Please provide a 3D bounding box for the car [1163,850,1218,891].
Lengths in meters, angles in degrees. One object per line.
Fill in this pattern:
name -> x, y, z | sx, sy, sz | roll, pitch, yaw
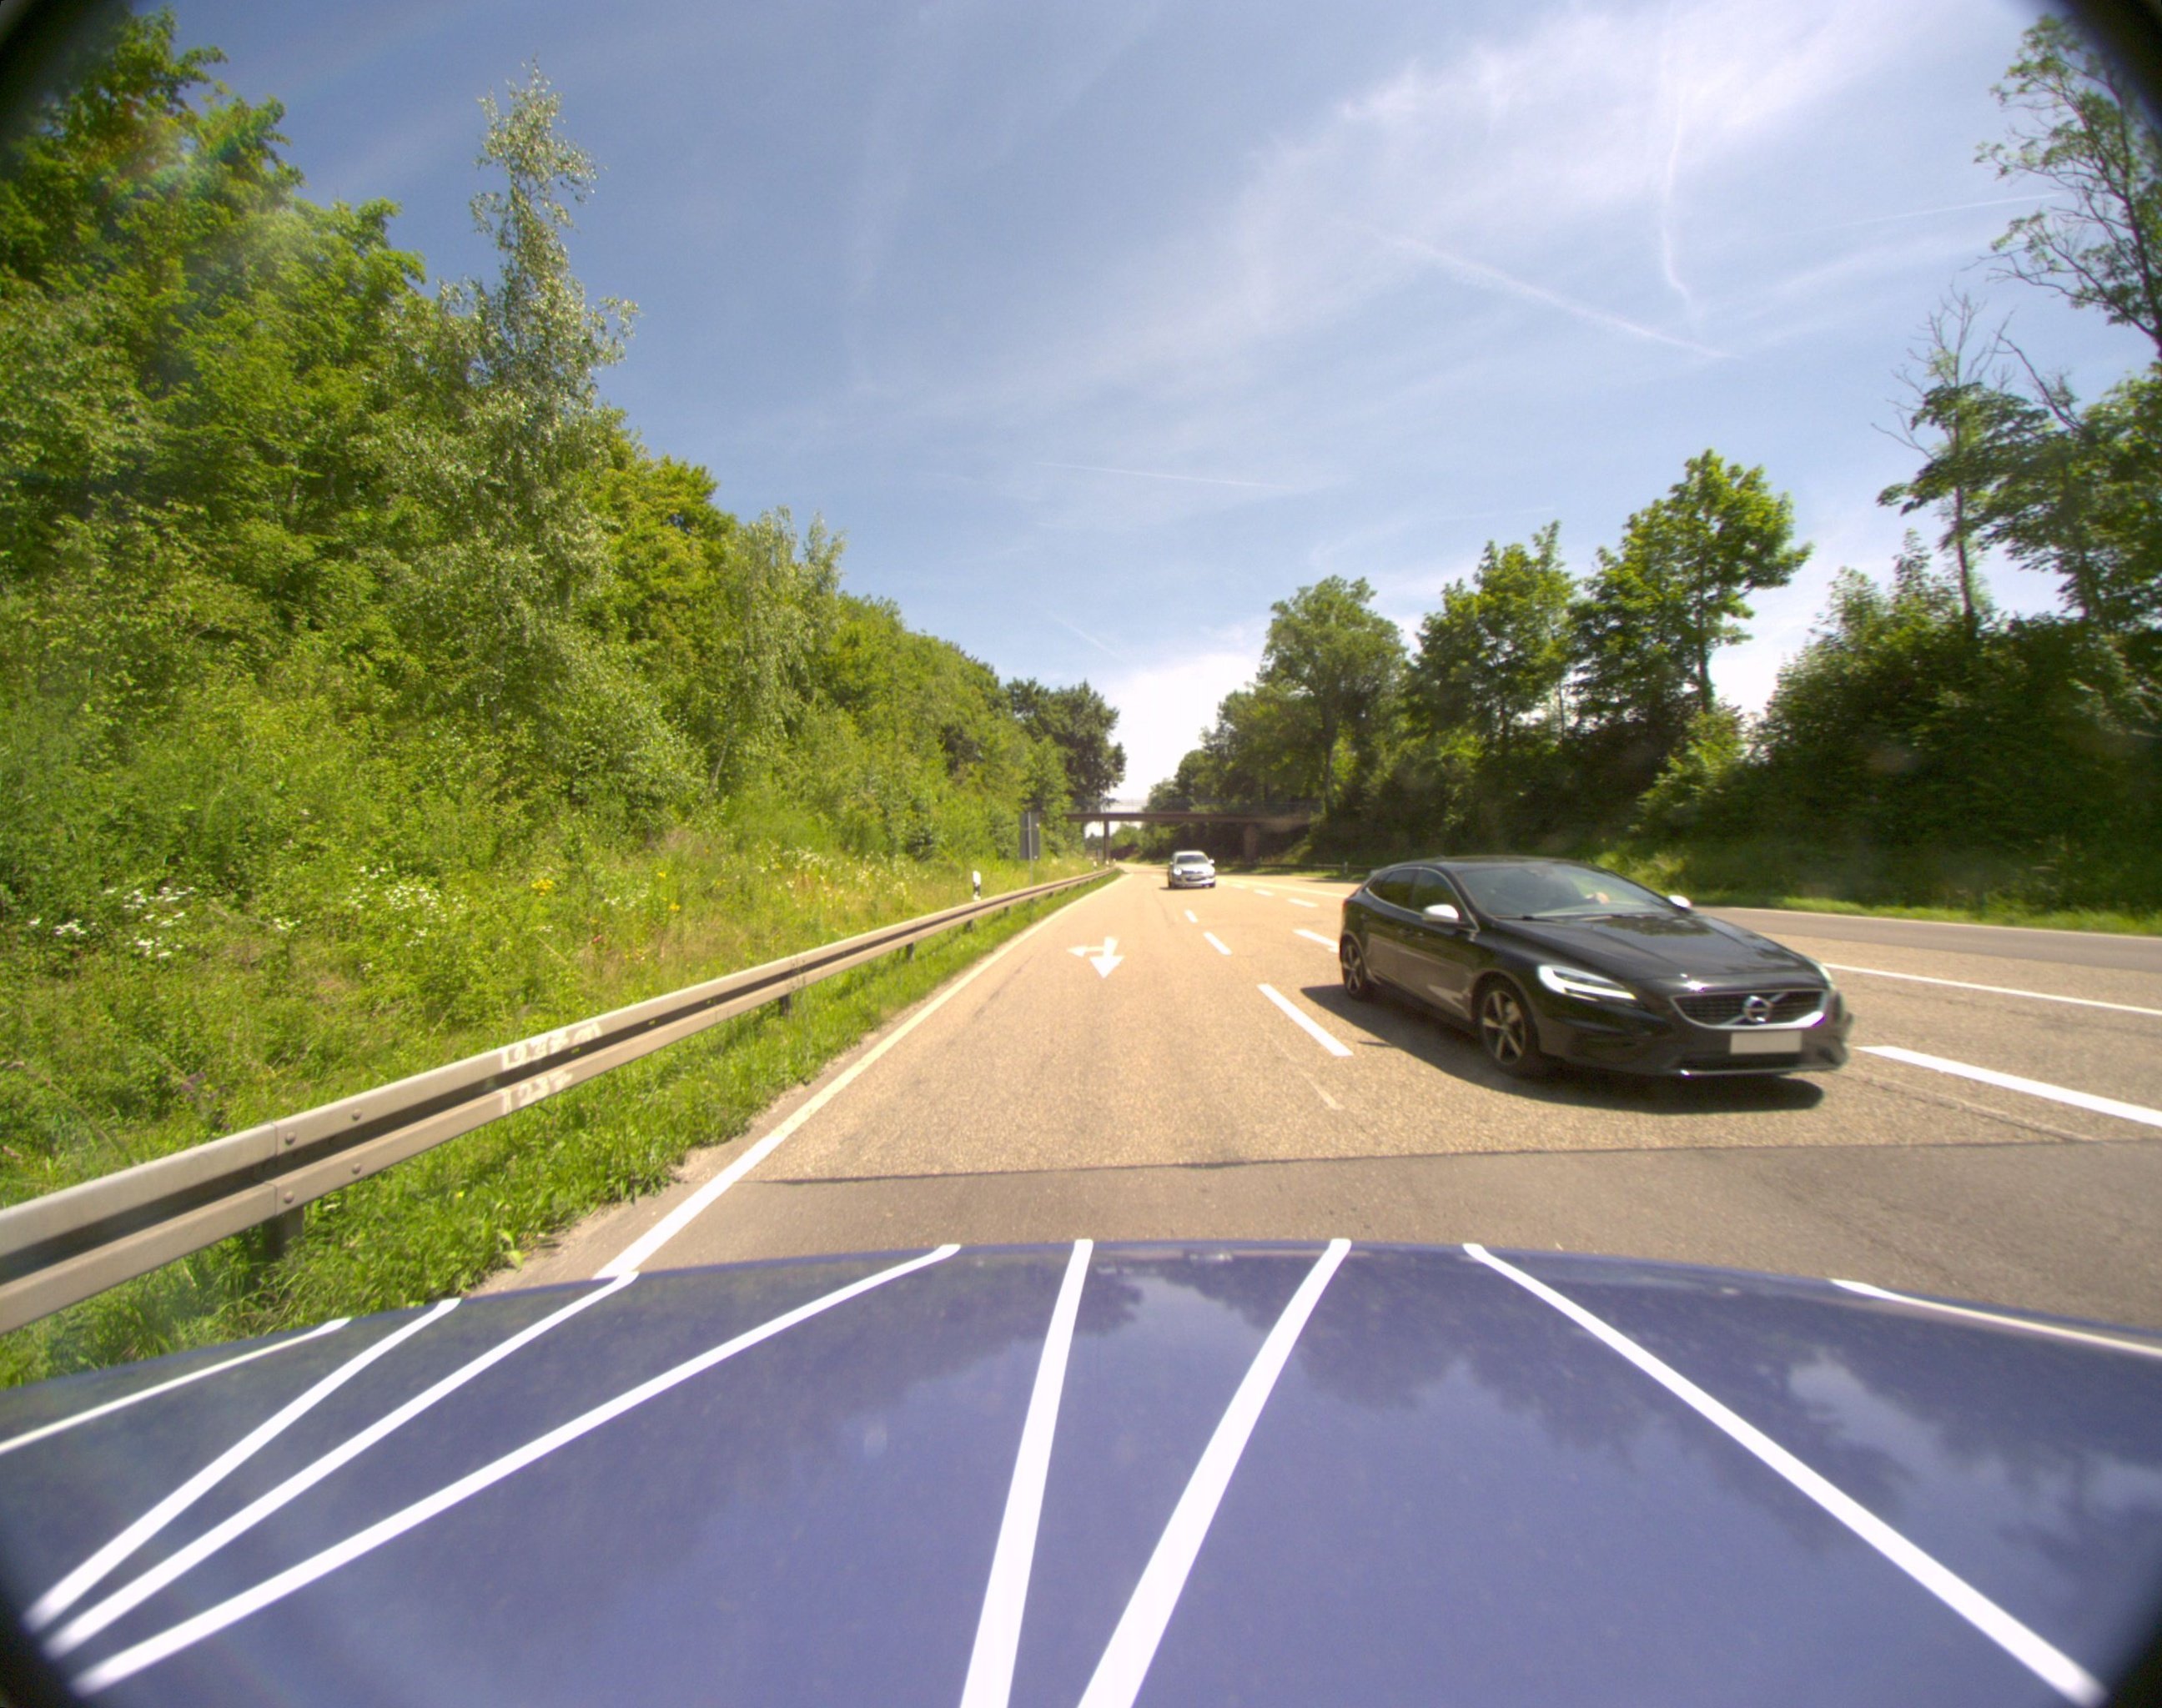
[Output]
car -> 4.883, 0.714, 34.407 | 1.809, 1.660, 4.292 | -3, 0, 1

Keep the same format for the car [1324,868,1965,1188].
car -> 3.444, 0.886, 5.885 | 1.690, 1.390, 4.402 | -1, 1, 0
